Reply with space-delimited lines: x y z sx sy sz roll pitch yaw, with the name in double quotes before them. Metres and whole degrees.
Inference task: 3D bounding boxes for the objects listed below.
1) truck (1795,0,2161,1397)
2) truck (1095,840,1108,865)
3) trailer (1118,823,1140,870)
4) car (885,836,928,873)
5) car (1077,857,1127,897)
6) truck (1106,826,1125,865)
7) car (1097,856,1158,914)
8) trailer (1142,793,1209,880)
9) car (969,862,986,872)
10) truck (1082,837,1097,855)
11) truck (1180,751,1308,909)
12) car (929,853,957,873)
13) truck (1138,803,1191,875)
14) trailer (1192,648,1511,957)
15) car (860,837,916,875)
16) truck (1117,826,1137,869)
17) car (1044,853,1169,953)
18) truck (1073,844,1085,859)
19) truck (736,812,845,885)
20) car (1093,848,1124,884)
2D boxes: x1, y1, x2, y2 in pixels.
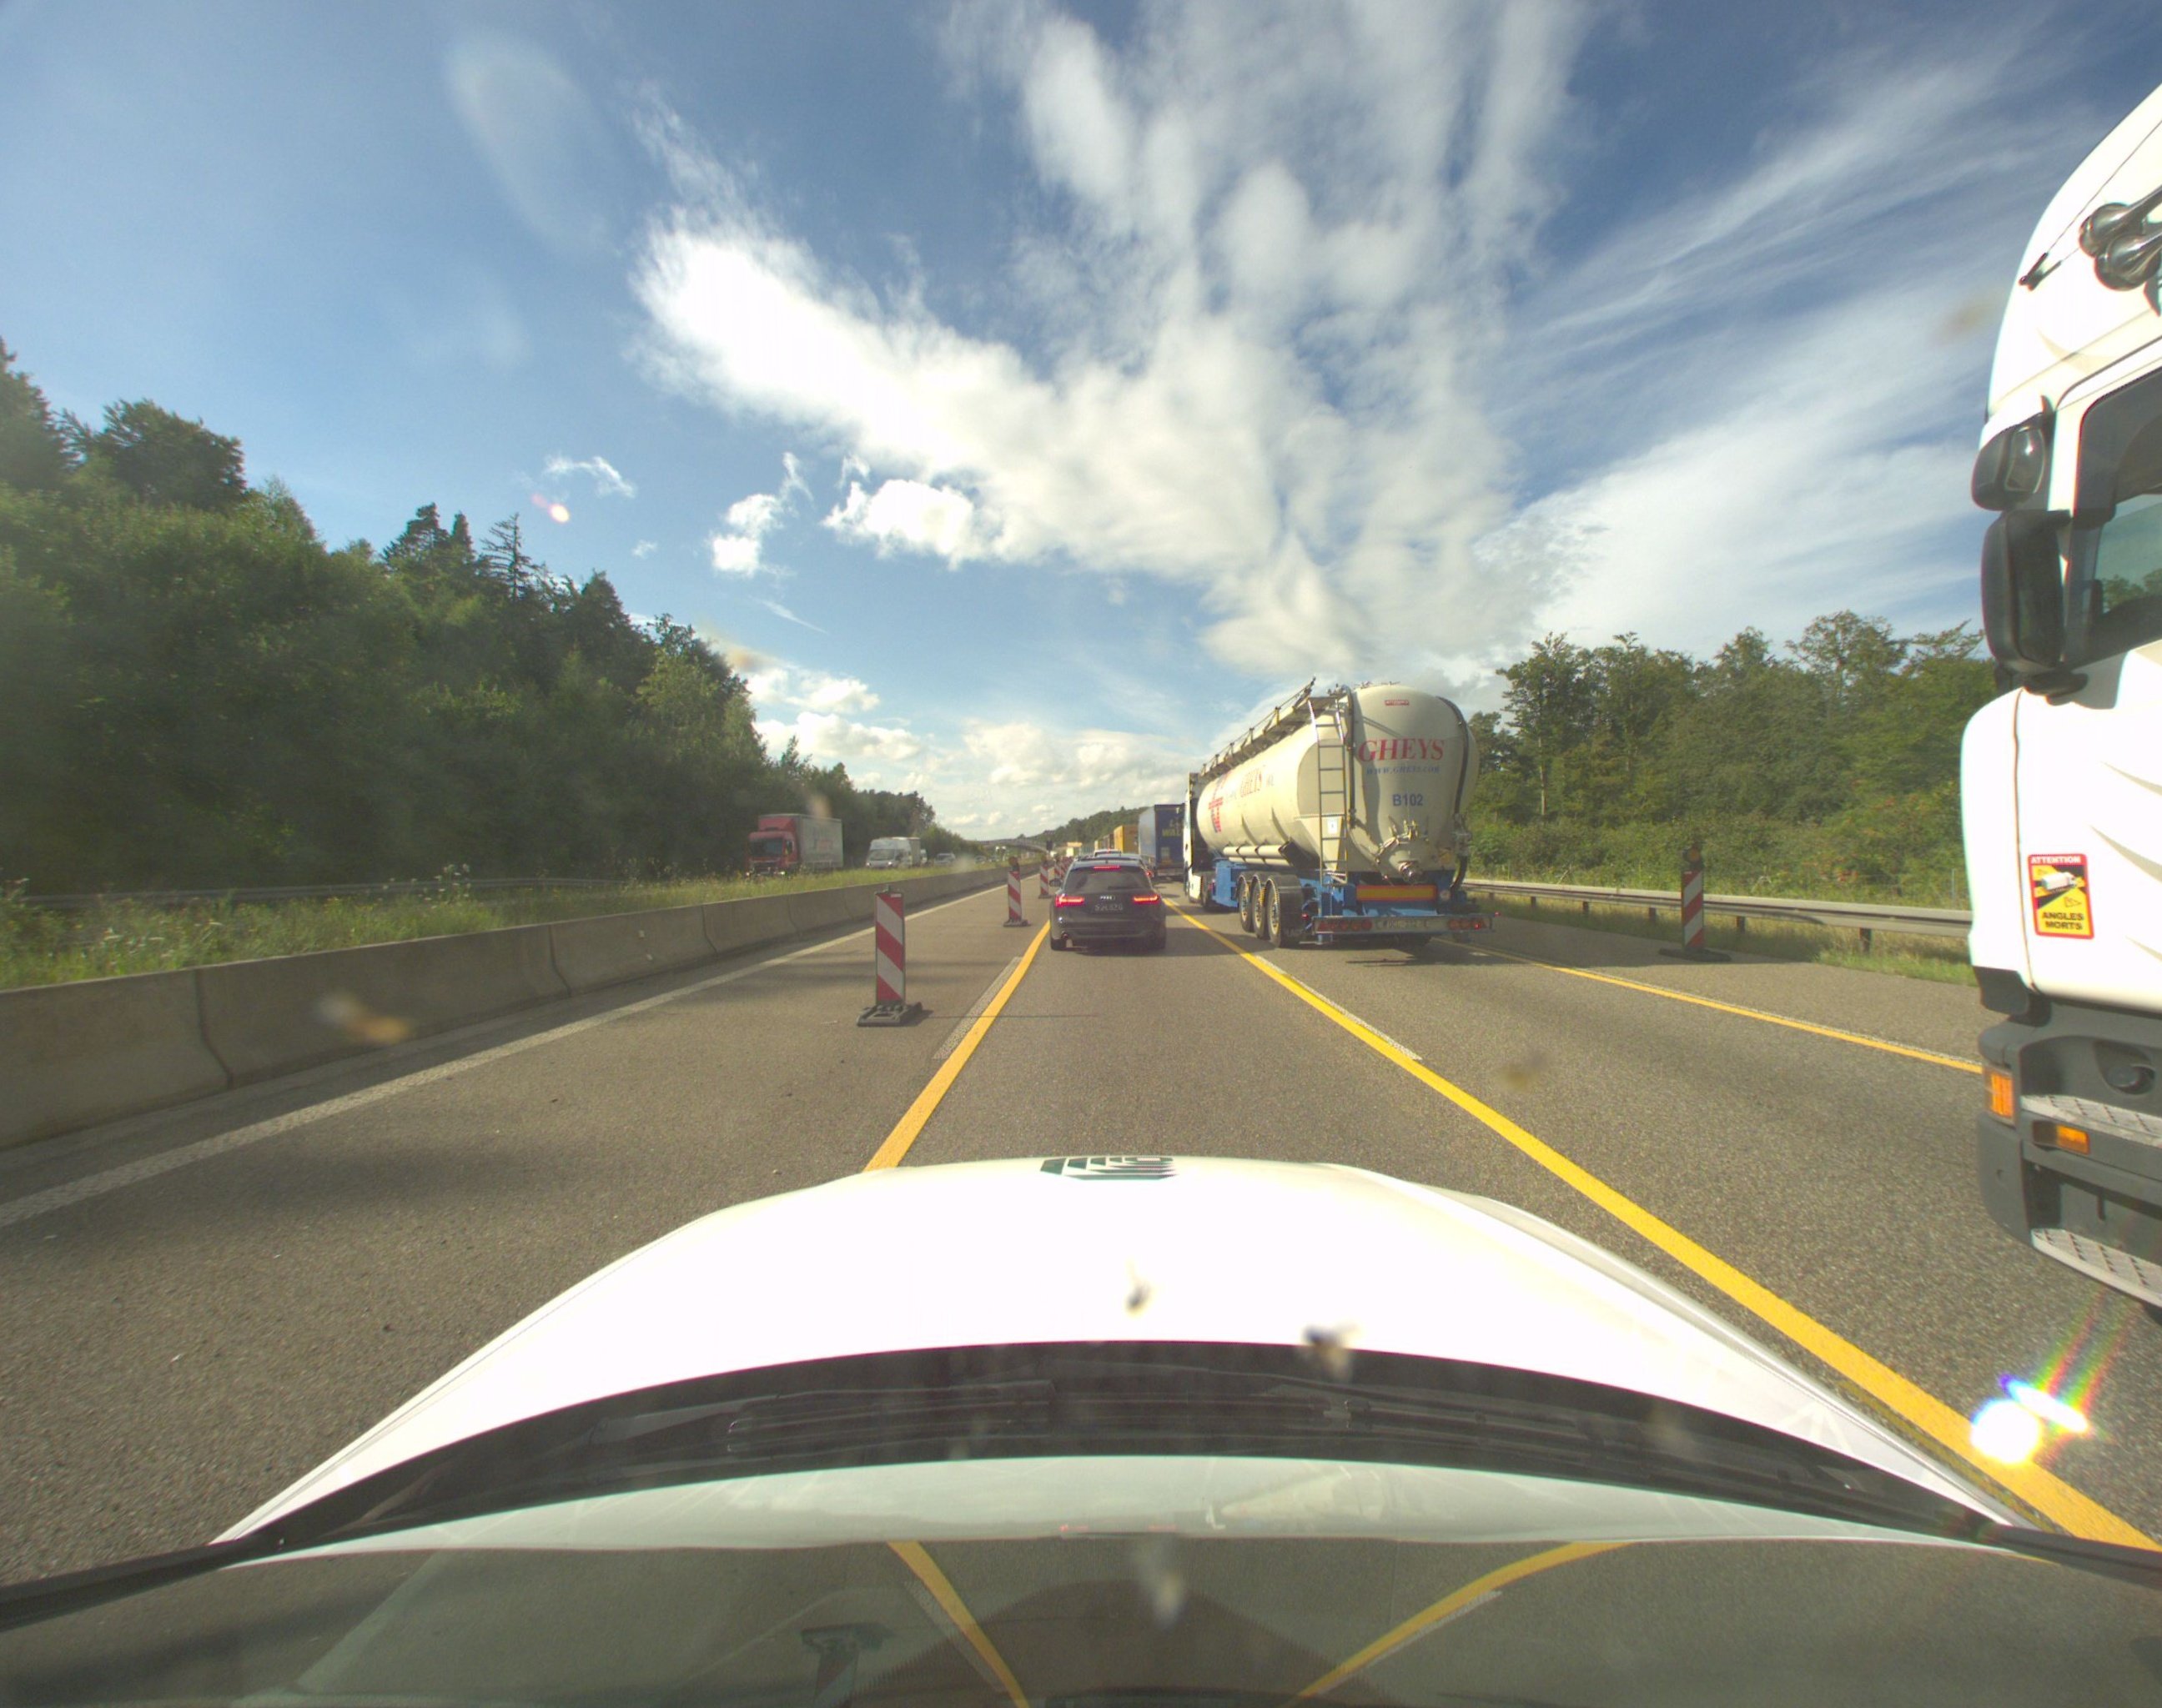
"truck" 3.930 -0.664 0.127 2.659 3.959 5.711 0 0 1
"truck" 3.497 -0.243 139.141 2.130 4.257 7.072 0 -1 1
"trailer" 4.242 -0.618 72.334 1.611 3.918 6.489 0 -1 1
"car" -16.878 0.069 79.336 2.478 3.370 7.453 0 -1 1
"car" 0.791 0.808 30.221 1.745 1.397 3.609 0 -1 1
"truck" 4.418 -1.049 105.984 1.987 4.914 9.561 0 0 0
"car" 1.213 0.786 21.952 1.518 1.439 3.286 0 -1 1
"trailer" 5.165 -0.842 46.380 2.795 4.413 10.435 0 -1 1
"car" -14.248 1.744 112.366 1.772 1.387 4.312 0 -1 2
"truck" 2.081 -1.891 201.807 3.294 4.175 9.699 -1 0 0
"truck" 4.467 -0.581 23.489 2.649 3.972 5.780 0 -1 1
"car" -13.340 0.866 79.090 1.937 1.813 4.120 0 -1 2
"truck" 5.334 -0.860 53.127 2.796 4.370 7.793 0 -1 1
"trailer" 4.314 -0.639 16.721 2.634 3.943 12.600 0 0 1
"car" -13.213 0.119 56.183 2.152 2.451 6.334 0 0 2
"truck" 4.281 -0.568 76.095 1.604 3.897 4.072 0 -1 1
"car" 0.434 0.755 14.160 1.842 1.463 4.001 -1 -1 1
"truck" -0.656 -0.562 232.529 3.295 4.175 9.695 -1 0 -2
"truck" -17.513 -0.308 50.089 2.790 3.992 10.189 0 0 2
"car" 1.471 0.618 43.450 1.575 1.837 3.112 0 -1 1
